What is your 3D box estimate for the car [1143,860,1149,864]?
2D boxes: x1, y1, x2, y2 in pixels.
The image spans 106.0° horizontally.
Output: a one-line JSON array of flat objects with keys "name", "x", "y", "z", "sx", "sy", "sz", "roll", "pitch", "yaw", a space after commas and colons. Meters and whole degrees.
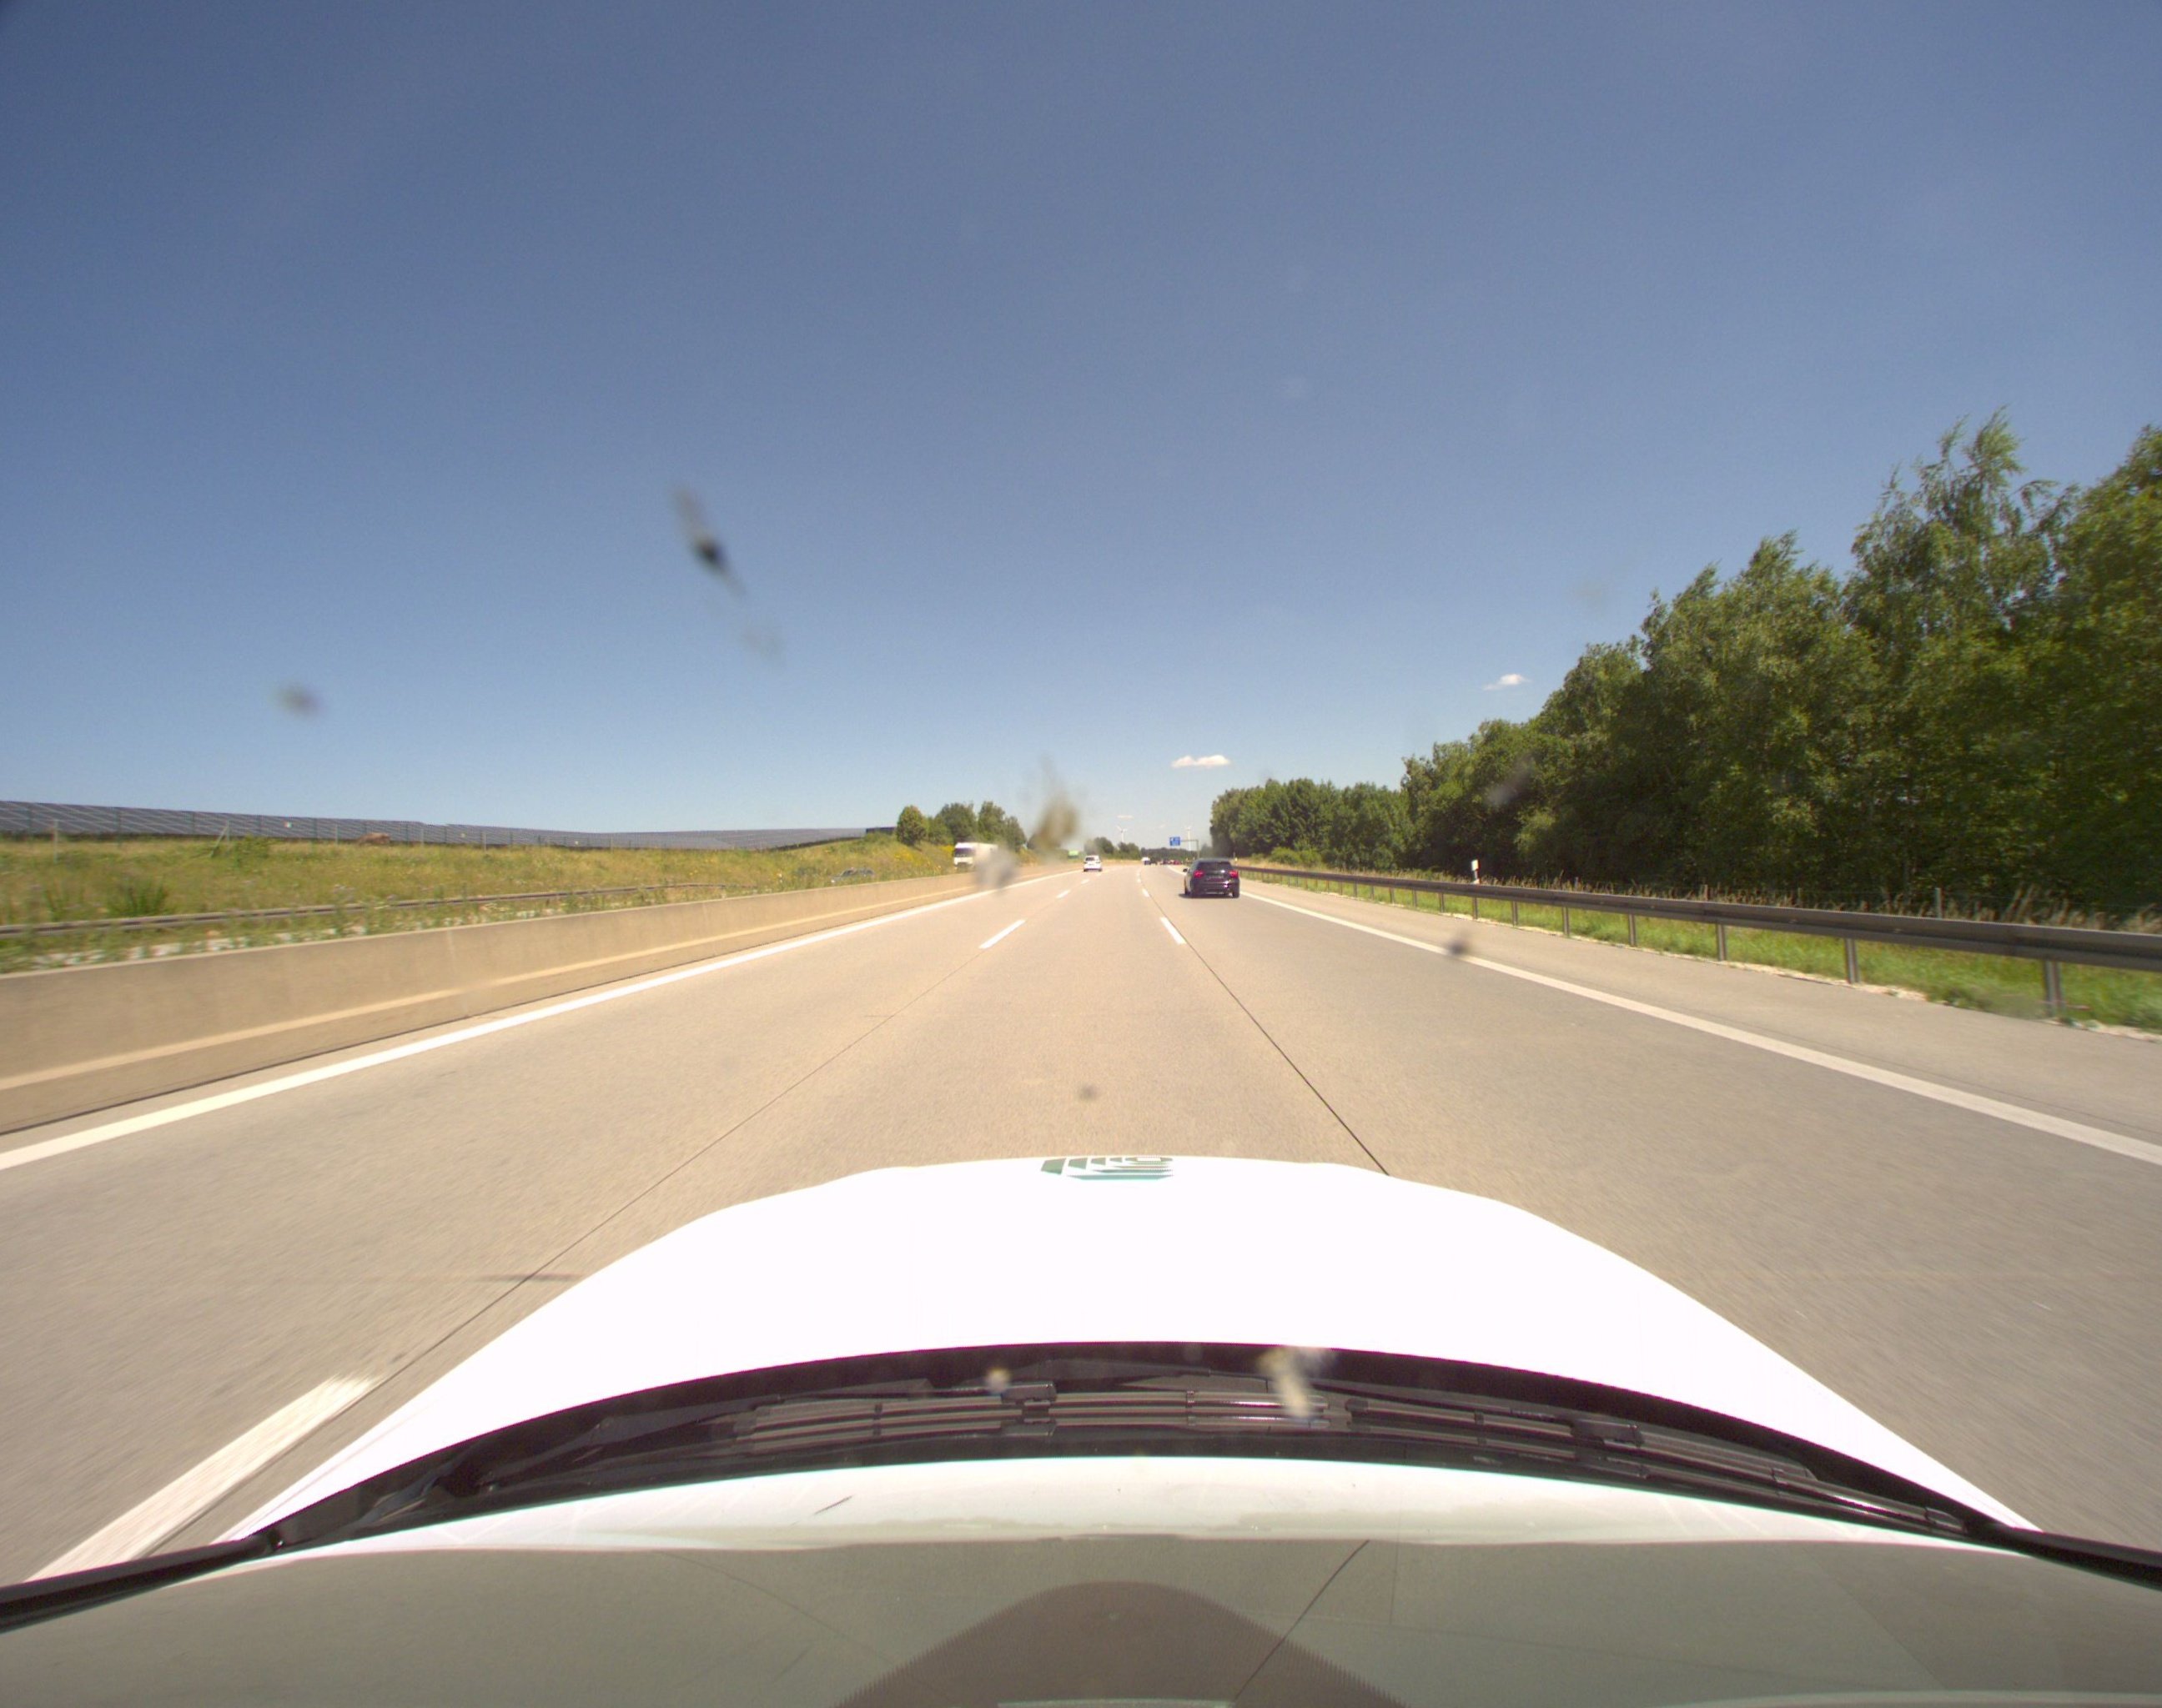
[{"name": "car", "x": 20.032, "y": 2.316, "z": 250.124, "sx": 1.650, "sy": 1.196, "sz": 3.960, "roll": 1, "pitch": 0, "yaw": 1}]

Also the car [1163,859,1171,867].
[{"name": "car", "x": 20.729, "y": 2.160, "z": 197.162, "sx": 1.818, "sy": 1.907, "sz": 4.006, "roll": -1, "pitch": 0, "yaw": 5}]

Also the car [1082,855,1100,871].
[{"name": "car", "x": 1.127, "y": 0.973, "z": 88.906, "sx": 1.839, "sy": 1.708, "sz": 6.036, "roll": -1, "pitch": -1, "yaw": 1}]

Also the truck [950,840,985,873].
[{"name": "truck", "x": -14.577, "y": 0.352, "z": 105.216, "sx": 2.977, "sy": 4.060, "sz": 6.877, "roll": -2, "pitch": 0, "yaw": 4}]

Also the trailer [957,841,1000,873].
[{"name": "trailer", "x": -14.024, "y": 0.373, "z": 112.736, "sx": 2.992, "sy": 4.060, "sz": 14.193, "roll": -2, "pitch": 0, "yaw": 4}]

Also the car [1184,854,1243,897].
[{"name": "car", "x": 4.964, "y": 0.774, "z": 30.924, "sx": 1.901, "sy": 1.492, "sz": 4.198, "roll": -1, "pitch": 0, "yaw": 5}]
